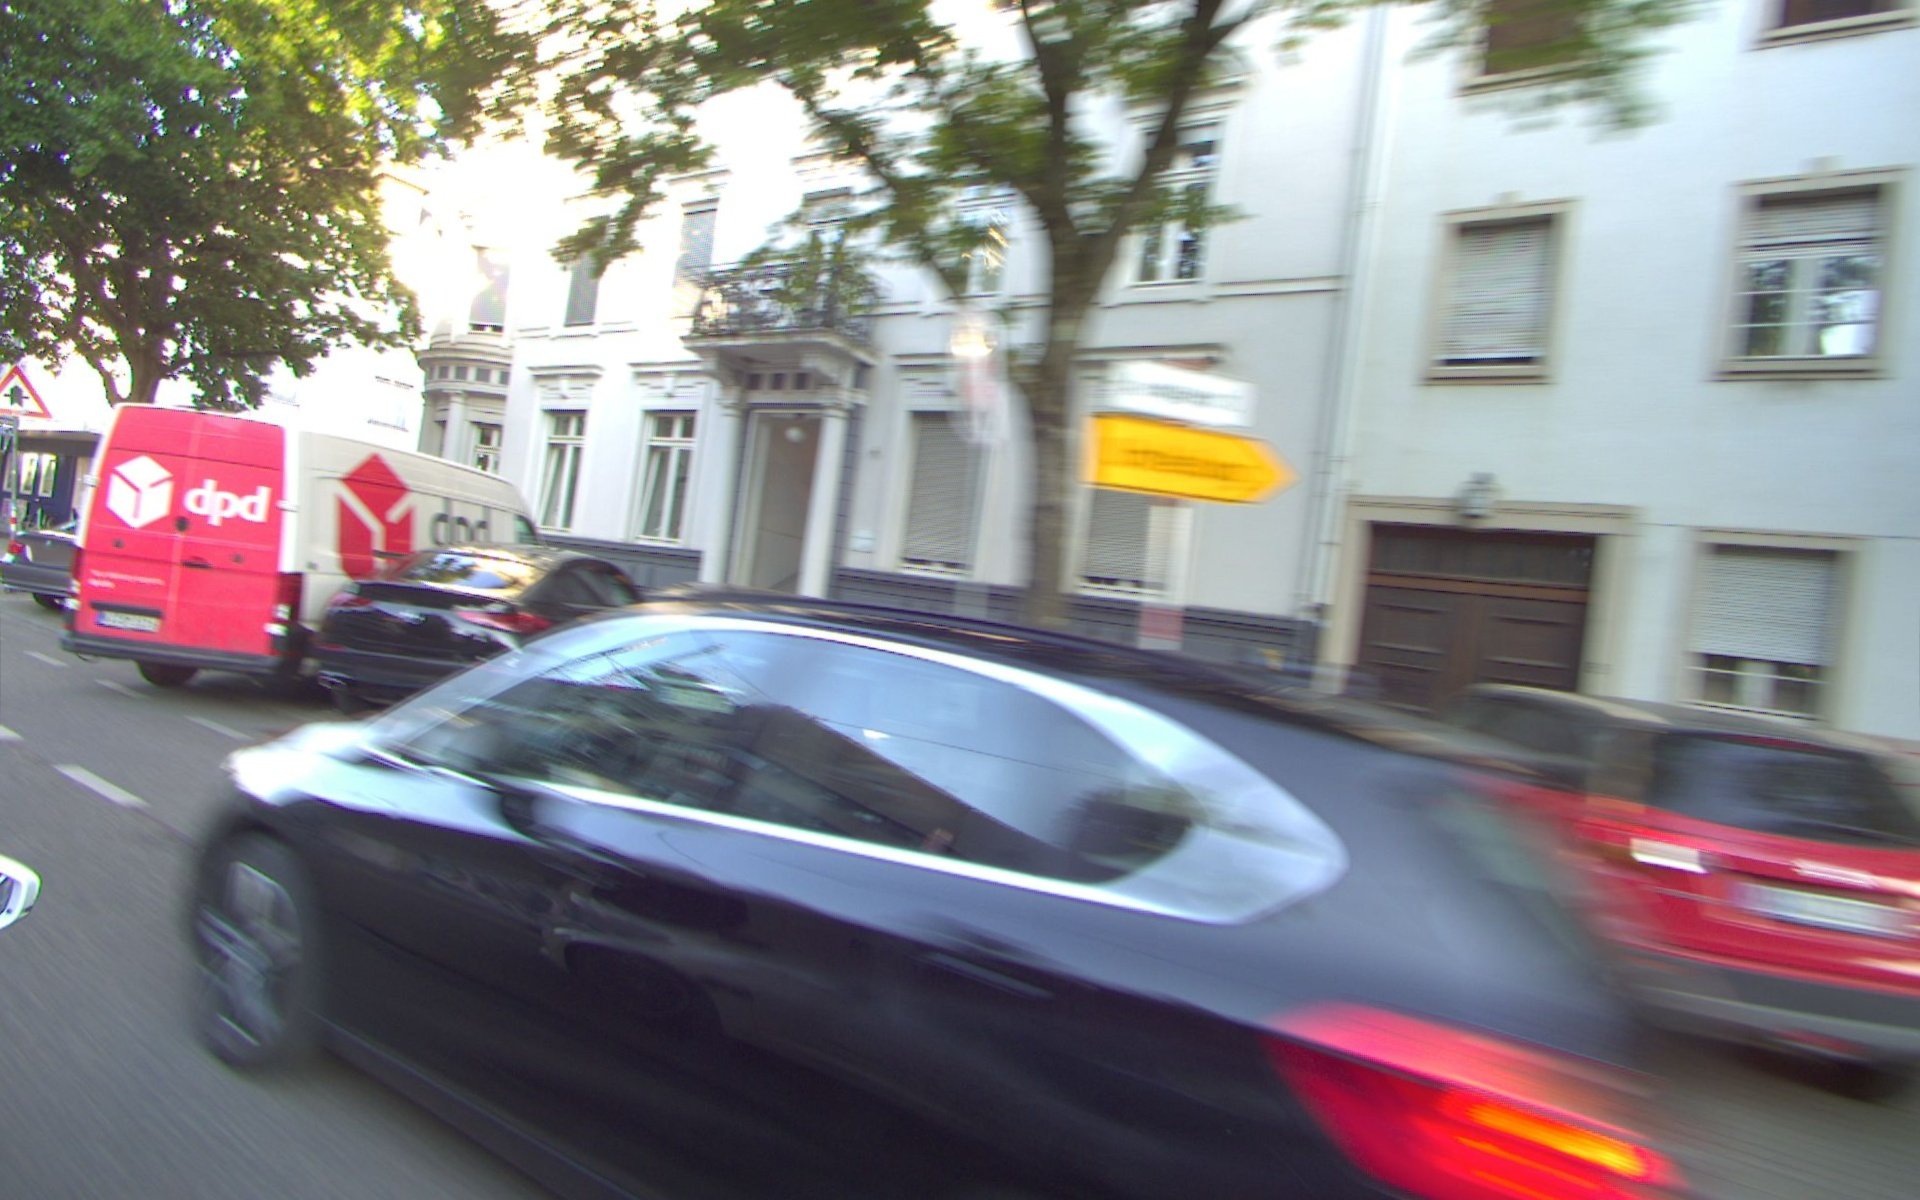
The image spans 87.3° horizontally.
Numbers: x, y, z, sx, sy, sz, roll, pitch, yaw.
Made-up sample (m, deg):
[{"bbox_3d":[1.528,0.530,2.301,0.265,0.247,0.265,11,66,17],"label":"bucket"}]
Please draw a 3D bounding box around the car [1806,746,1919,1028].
[{"bbox_3d":[5.999,1.662,4.303,1.494,1.426,3.574,8,-1,-2],"label":"car"}]

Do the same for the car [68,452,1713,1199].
[{"bbox_3d":[-0.556,0.693,2.937,4.100,1.657,1.841,7,-4,33],"label":"car"}]

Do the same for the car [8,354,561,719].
[{"bbox_3d":[-6.675,-0.463,11.113,2.132,2.726,5.640,8,-1,-2],"label":"car"}]

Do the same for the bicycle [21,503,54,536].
[{"bbox_3d":[-28.346,-2.466,30.917,1.304,0.894,0.341,7,2,30],"label":"bicycle"}]

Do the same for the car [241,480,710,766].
[{"bbox_3d":[-4.426,0.232,10.566,2.132,1.917,5.640,8,-1,-2],"label":"car"}]

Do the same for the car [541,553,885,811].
[{"bbox_3d":[-1.984,0.656,9.827,1.861,1.621,5.027,8,-1,1],"label":"car"}]

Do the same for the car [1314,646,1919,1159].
[{"bbox_3d":[3.499,1.222,5.686,1.710,1.660,4.123,8,-1,6],"label":"car"}]

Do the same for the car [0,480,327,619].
[{"bbox_3d":[-11.666,-0.695,14.750,1.829,1.532,4.603,8,1,-2],"label":"car"}]

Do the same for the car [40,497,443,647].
[{"bbox_3d":[-9.290,-0.310,13.594,1.950,1.463,4.407,7,0,4],"label":"car"}]
